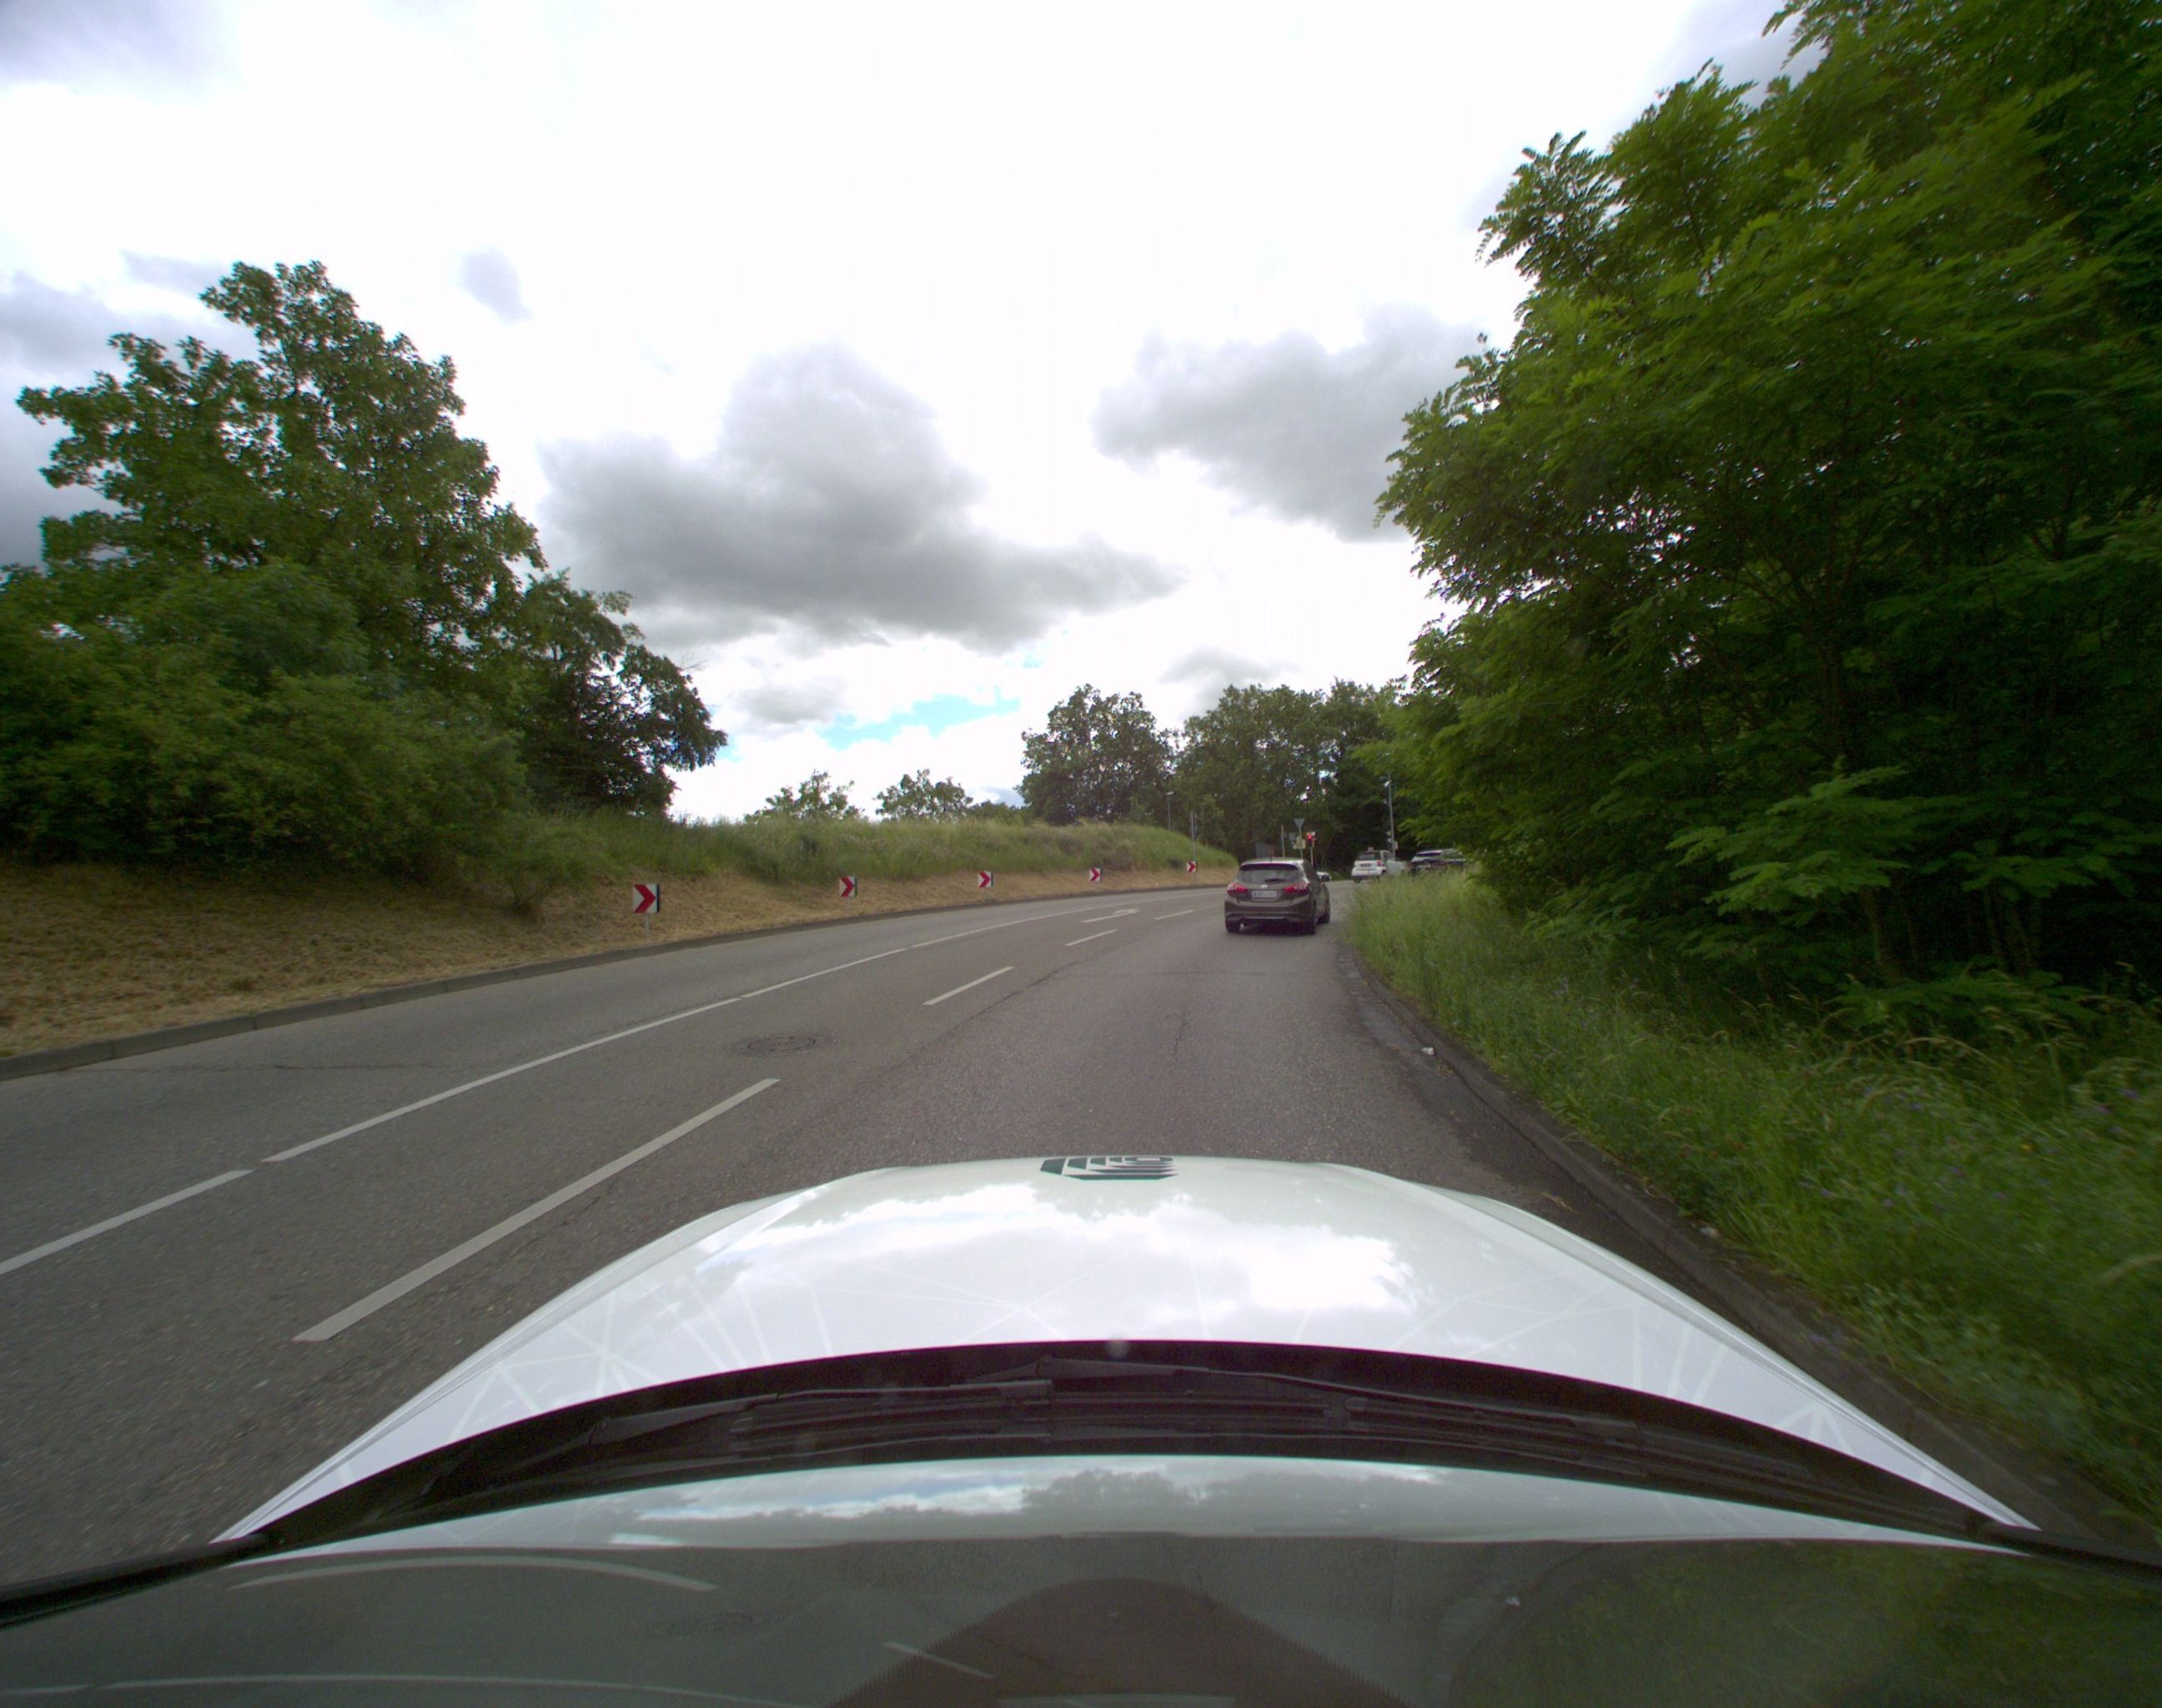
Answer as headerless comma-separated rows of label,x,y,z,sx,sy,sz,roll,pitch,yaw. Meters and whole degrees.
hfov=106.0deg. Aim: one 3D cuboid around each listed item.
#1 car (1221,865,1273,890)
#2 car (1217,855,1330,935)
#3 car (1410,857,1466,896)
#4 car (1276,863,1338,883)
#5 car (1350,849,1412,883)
car,14.037,2.015,69.122,1.864,1.814,3.993,-1,-4,-37
car,4.275,0.795,17.588,1.829,1.493,4.021,-1,0,21
car,15.040,0.892,34.206,1.882,1.466,4.024,0,1,27
car,17.743,1.494,64.103,2.009,1.339,4.369,1,-5,-37
car,14.556,0.546,39.484,3.033,1.557,1.562,-1,0,-41
